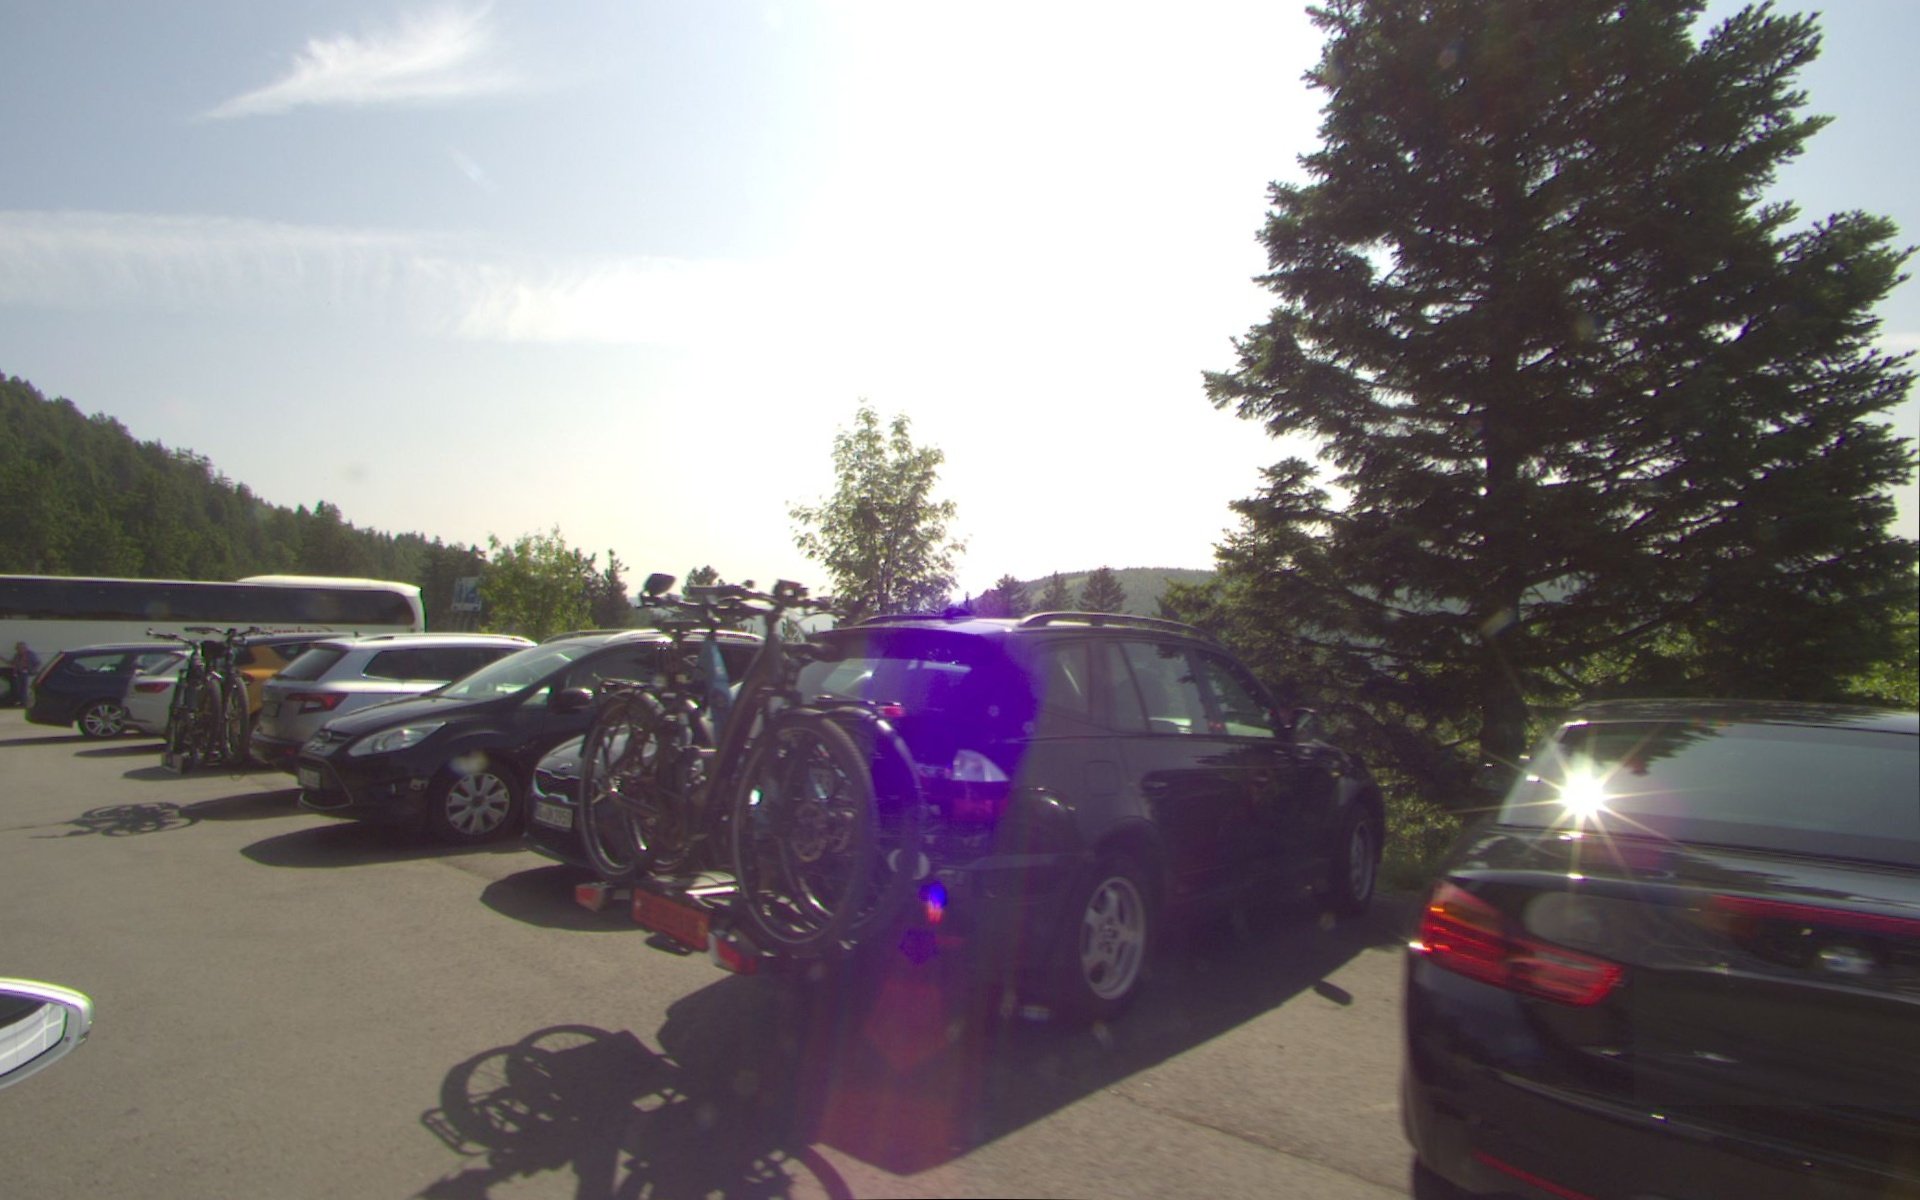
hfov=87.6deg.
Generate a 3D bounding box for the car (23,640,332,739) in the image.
[{"bbox_3d":[-13.391,1.436,17.312,1.840,1.467,3.968,-1,-2,41],"label":"car"}]

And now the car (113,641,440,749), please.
[{"bbox_3d":[-10.503,1.373,15.617,1.602,1.416,3.968,-1,-2,41],"label":"car"}]

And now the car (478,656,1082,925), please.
[{"bbox_3d":[-1.038,1.117,7.419,1.817,1.285,4.224,-1,-2,41],"label":"car"}]

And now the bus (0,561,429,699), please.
[{"bbox_3d":[-22.976,0.875,29.140,12.986,3.578,3.020,1,-2,-39],"label":"bus"}]

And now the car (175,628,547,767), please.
[{"bbox_3d":[-7.822,1.166,13.363,1.641,1.573,3.968,-1,-2,41],"label":"car"}]

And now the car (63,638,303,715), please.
[{"bbox_3d":[-17.216,1.616,22.322,1.840,1.526,3.968,-1,-2,41],"label":"car"}]

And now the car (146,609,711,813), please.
[{"bbox_3d":[-5.372,0.989,10.775,2.025,1.672,5.010,-1,-2,41],"label":"car"}]

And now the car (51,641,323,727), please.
[{"bbox_3d":[-15.048,1.554,19.656,1.840,1.467,3.968,-1,-2,41],"label":"car"}]

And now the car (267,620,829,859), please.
[{"bbox_3d":[-3.341,0.988,8.800,1.817,1.573,4.224,-1,-2,41],"label":"car"}]

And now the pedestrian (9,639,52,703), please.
[{"bbox_3d":[-24.123,1.832,25.990,0.764,1.605,0.766,1,-1,-41],"label":"pedestrian"}]

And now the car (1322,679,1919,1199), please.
[{"bbox_3d":[2.648,1.005,3.406,1.680,1.393,4.074,-1,-5,35],"label":"car"}]

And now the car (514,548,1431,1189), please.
[{"bbox_3d":[0.585,0.815,5.162,1.924,1.717,4.923,-1,-3,43],"label":"car"}]

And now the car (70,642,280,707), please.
[{"bbox_3d":[-19.930,1.831,25.539,1.840,1.467,3.968,-1,-2,41],"label":"car"}]
